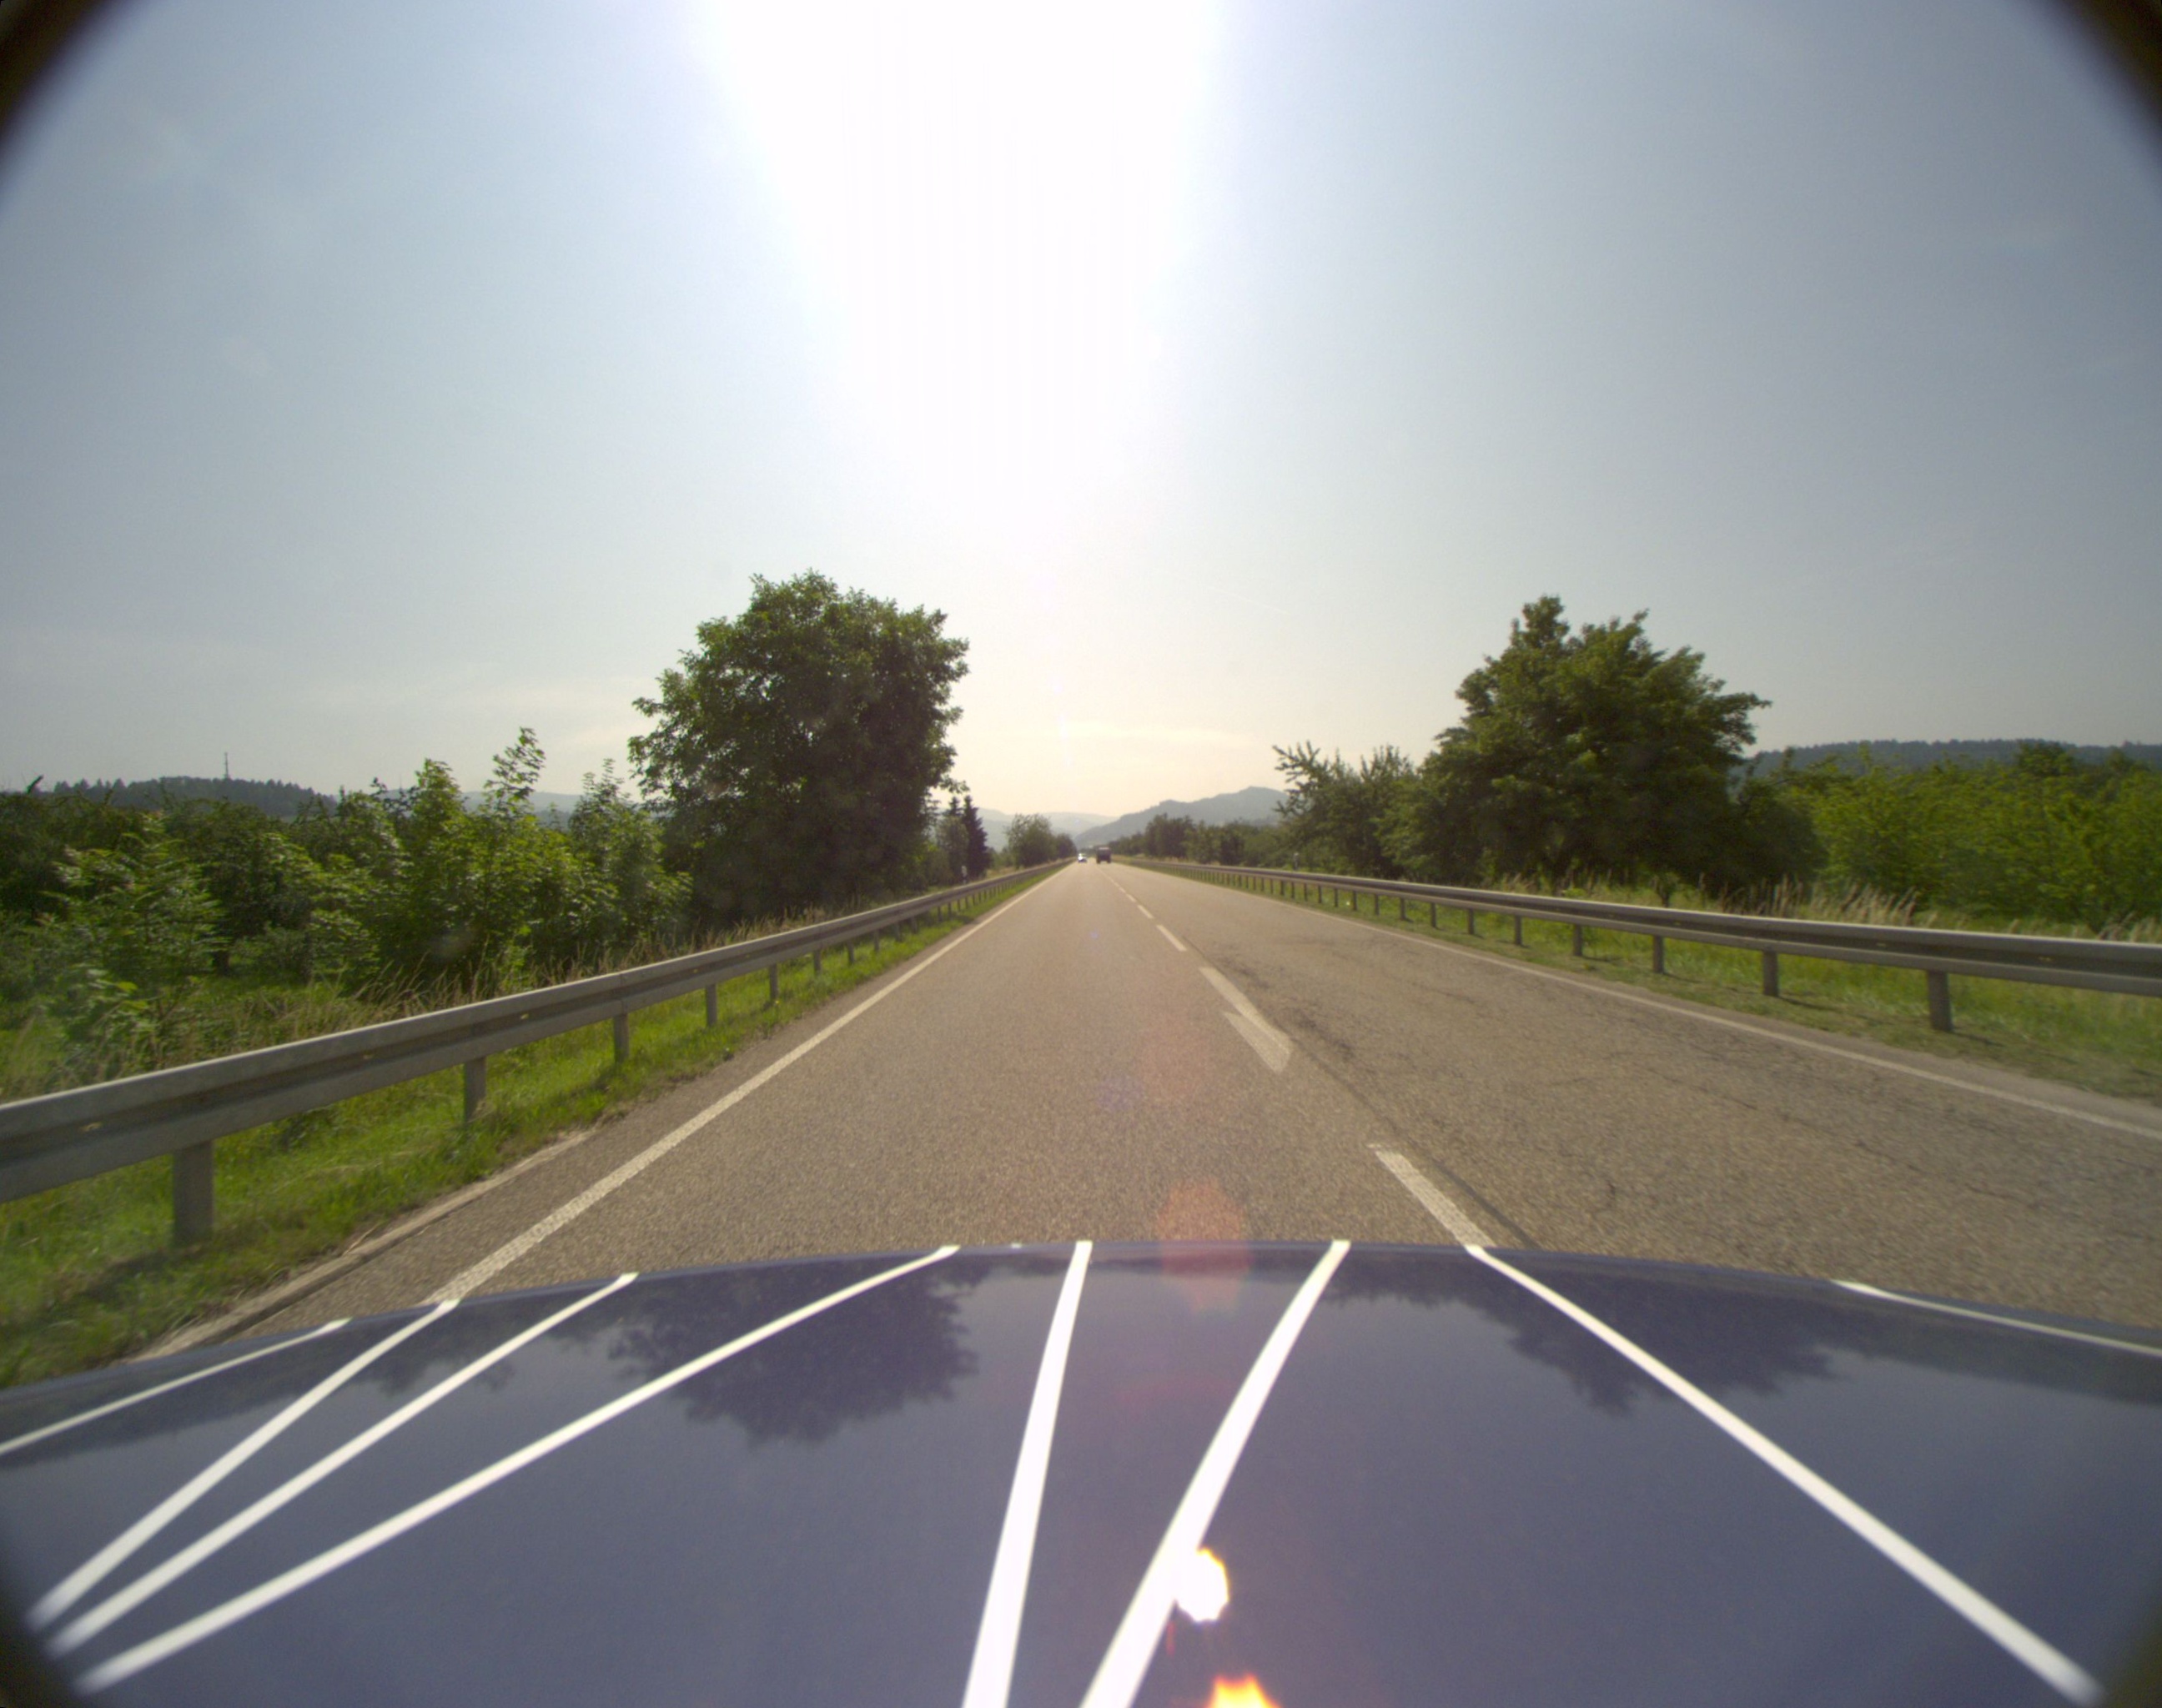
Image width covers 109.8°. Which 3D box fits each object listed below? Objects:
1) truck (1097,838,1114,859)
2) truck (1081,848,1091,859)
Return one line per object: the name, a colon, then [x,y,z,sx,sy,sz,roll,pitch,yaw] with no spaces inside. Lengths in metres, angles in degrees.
truck: [4.541,-1.094,141.036,2.735,3.651,9.382,-2,1,0]
truck: [1.180,-0.117,165.077,2.032,2.232,4.764,-2,1,1]
